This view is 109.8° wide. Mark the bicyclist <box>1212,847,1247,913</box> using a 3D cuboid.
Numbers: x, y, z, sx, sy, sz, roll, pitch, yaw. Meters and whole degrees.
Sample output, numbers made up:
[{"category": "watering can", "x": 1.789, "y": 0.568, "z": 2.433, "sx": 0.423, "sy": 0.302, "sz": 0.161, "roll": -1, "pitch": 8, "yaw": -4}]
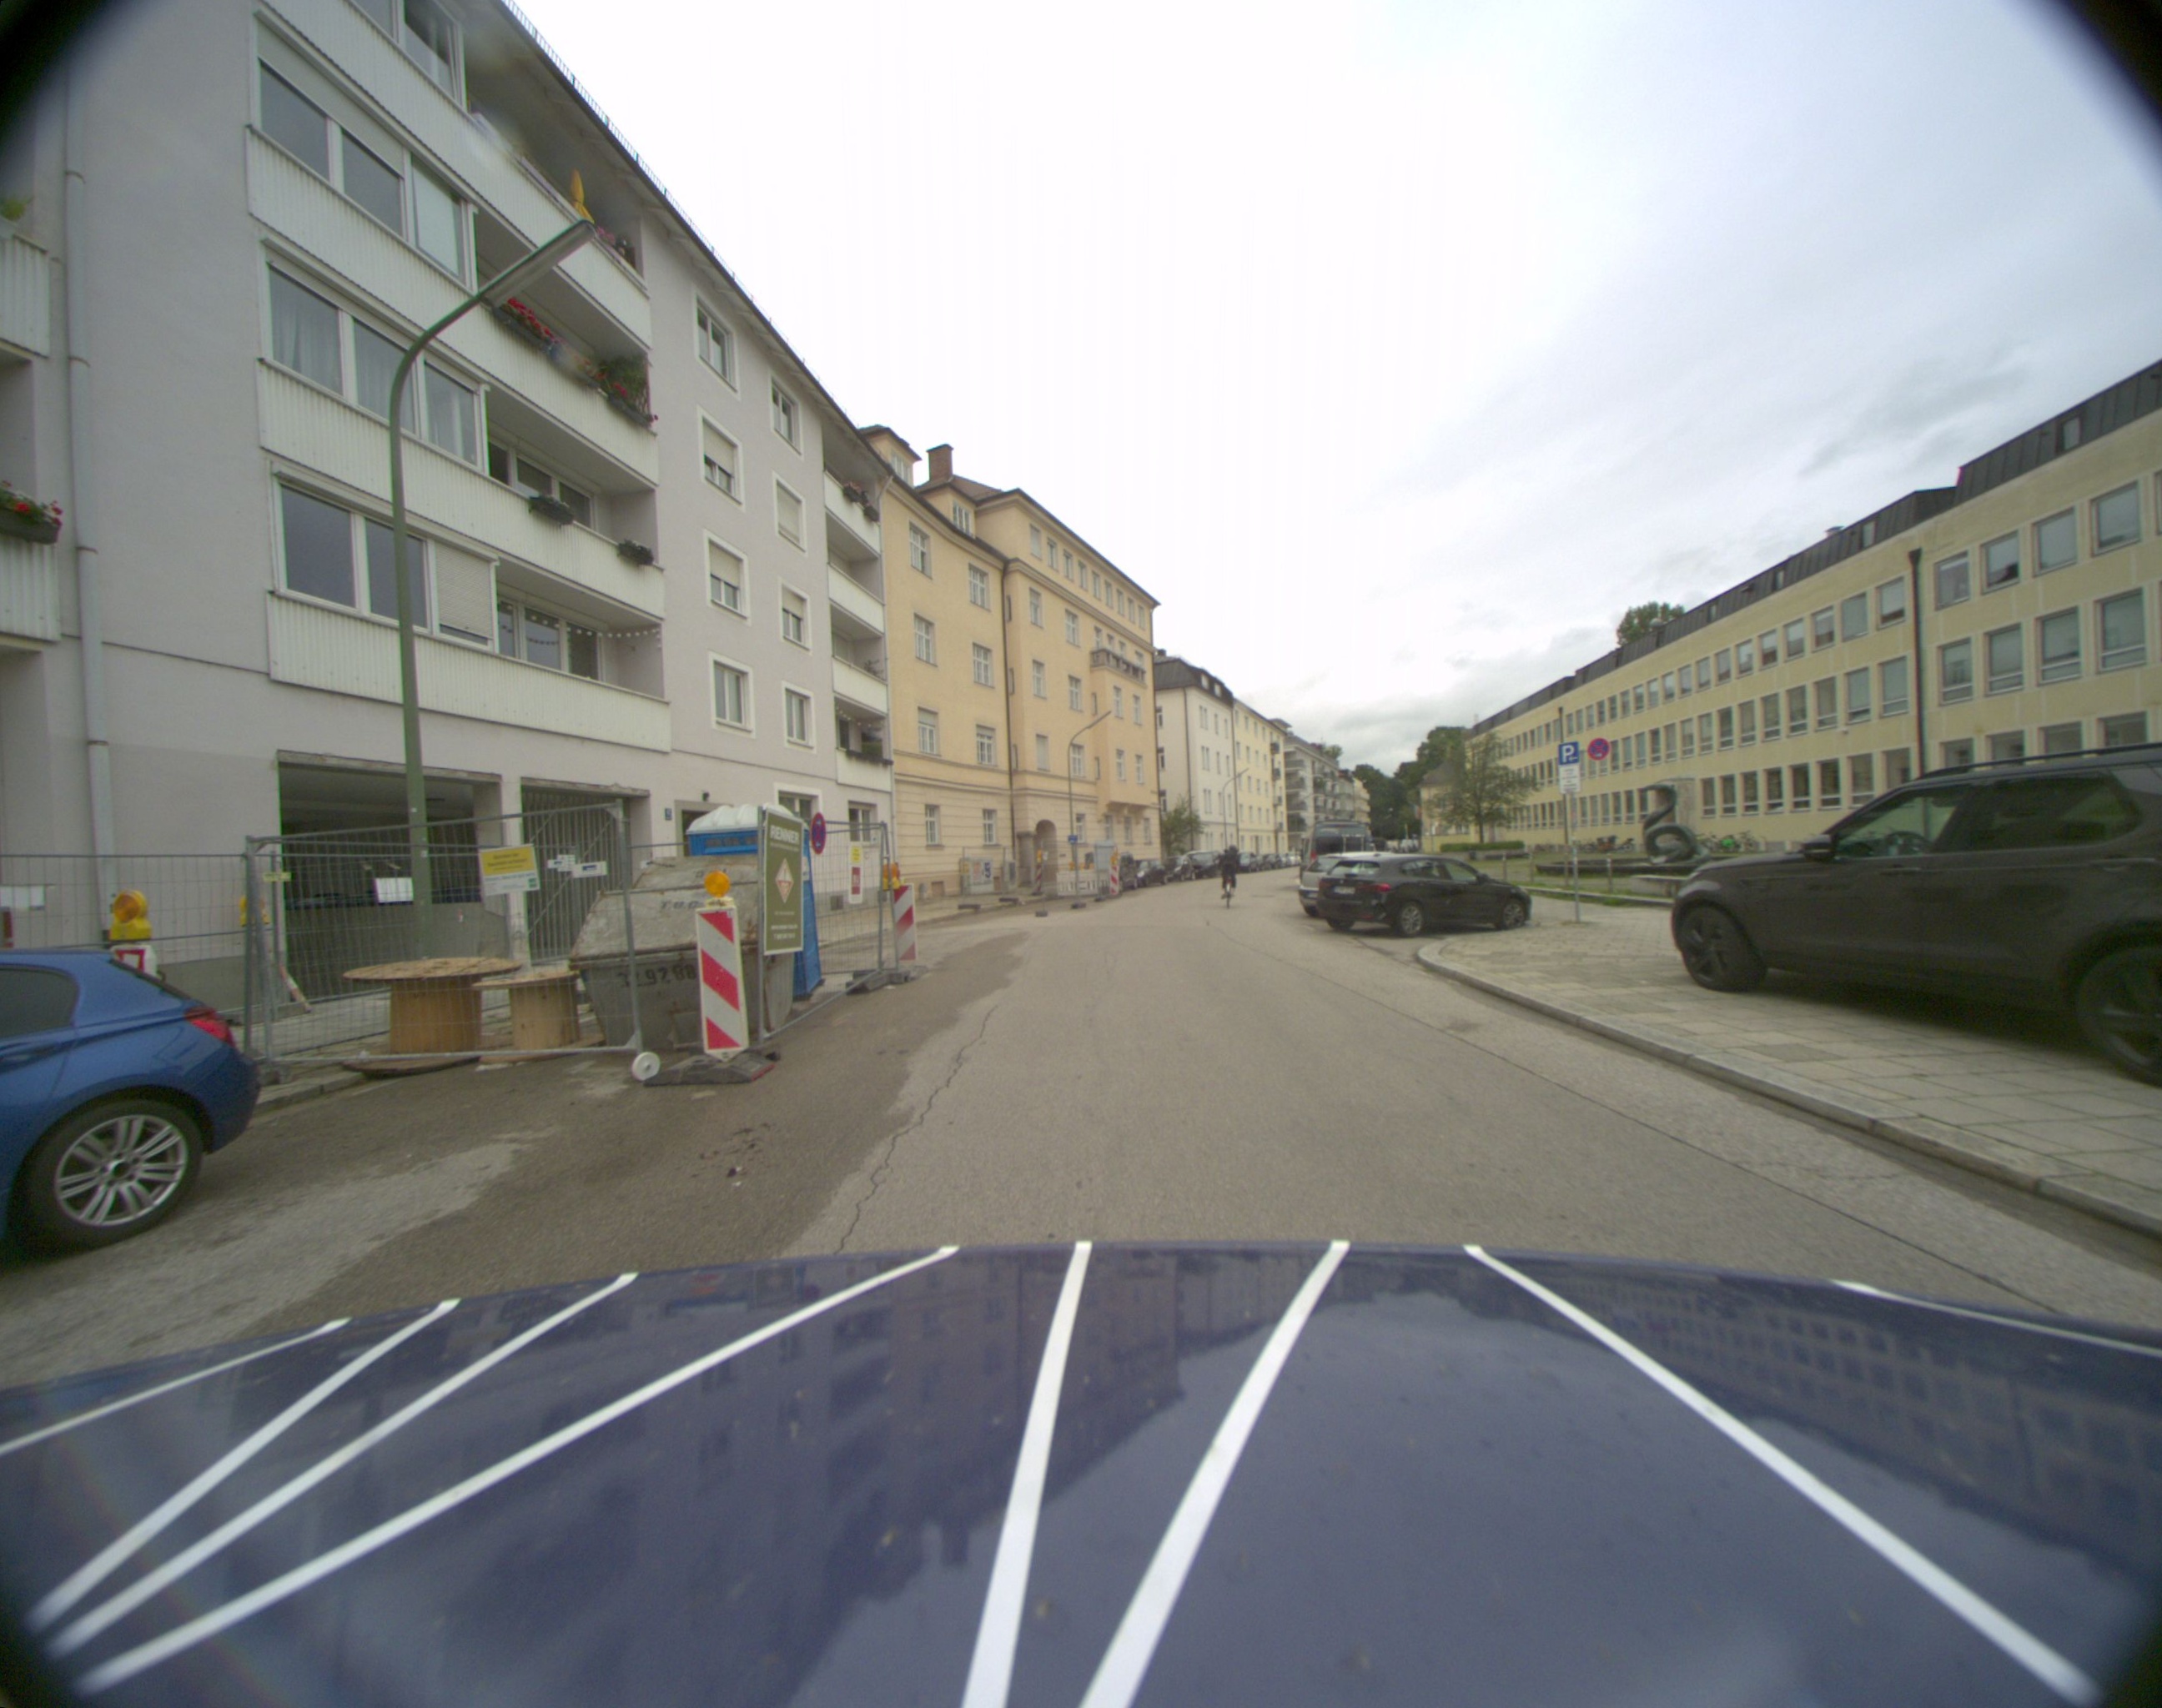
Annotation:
[{"category": "bicyclist", "x": 3.971, "y": 0.688, "z": 20.423, "sx": 0.749, "sy": 1.707, "sz": 1.032, "roll": -2, "pitch": 0, "yaw": 4}]

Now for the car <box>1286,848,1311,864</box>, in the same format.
[{"category": "car", "x": 23.403, "y": 0.216, "z": 81.615, "sx": 1.838, "sy": 1.450, "sz": 4.028, "roll": -5, "pitch": 0, "yaw": 25}]

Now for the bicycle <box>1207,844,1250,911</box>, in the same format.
[{"category": "bicycle", "x": 4.046, "y": 0.633, "z": 21.139, "sx": 0.797, "sy": 1.712, "sz": 3.116, "roll": -1, "pitch": -1, "yaw": 4}]

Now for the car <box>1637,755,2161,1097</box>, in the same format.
[{"category": "car", "x": 6.536, "y": 0.330, "z": 5.093, "sx": 1.999, "sy": 1.761, "sz": 4.814, "roll": -3, "pitch": 0, "yaw": 0}]

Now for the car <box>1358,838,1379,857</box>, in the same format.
[{"category": "car", "x": 31.050, "y": -0.721, "z": 82.058, "sx": 1.946, "sy": 1.965, "sz": 4.361, "roll": -1, "pitch": 1, "yaw": 23}]

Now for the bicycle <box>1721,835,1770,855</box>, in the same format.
[{"category": "bicycle", "x": 34.562, "y": -0.472, "z": 39.538, "sx": 1.904, "sy": 0.911, "sz": 0.438, "roll": -5, "pitch": 0, "yaw": 10}]

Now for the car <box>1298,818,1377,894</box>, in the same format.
[{"category": "car", "x": 9.692, "y": 0.054, "z": 29.171, "sx": 2.147, "sy": 2.559, "sz": 6.216, "roll": -1, "pitch": 1, "yaw": 12}]

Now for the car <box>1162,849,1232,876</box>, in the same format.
[{"category": "car", "x": 8.492, "y": 0.644, "z": 55.802, "sx": 4.918, "sy": 1.762, "sz": 1.886, "roll": -2, "pitch": 1, "yaw": 8}]

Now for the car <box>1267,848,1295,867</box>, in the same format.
[{"category": "car", "x": 19.094, "y": 0.343, "z": 72.503, "sx": 1.779, "sy": 1.581, "sz": 3.707, "roll": -5, "pitch": 0, "yaw": 25}]

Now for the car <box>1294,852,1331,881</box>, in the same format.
[{"category": "car", "x": 12.398, "y": 0.635, "z": 40.587, "sx": 1.668, "sy": 1.451, "sz": 2.872, "roll": 0, "pitch": 2, "yaw": 21}]

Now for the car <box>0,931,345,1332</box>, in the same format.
[{"category": "car", "x": -5.206, "y": 1.222, "z": 2.021, "sx": 1.835, "sy": 1.433, "sz": 4.629, "roll": -5, "pitch": 0, "yaw": 1}]

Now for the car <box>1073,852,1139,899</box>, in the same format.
[{"category": "car", "x": 1.206, "y": 0.887, "z": 33.741, "sx": 1.839, "sy": 1.788, "sz": 4.243, "roll": -5, "pitch": 0, "yaw": 16}]

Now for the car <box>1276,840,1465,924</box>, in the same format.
[{"category": "car", "x": 6.739, "y": 0.614, "z": 17.646, "sx": 3.987, "sy": 1.521, "sz": 1.672, "roll": -5, "pitch": 0, "yaw": -24}]

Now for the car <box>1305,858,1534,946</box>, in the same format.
[{"category": "car", "x": 6.326, "y": 0.797, "z": 14.156, "sx": 4.012, "sy": 1.365, "sz": 1.745, "roll": -1, "pitch": 1, "yaw": -27}]

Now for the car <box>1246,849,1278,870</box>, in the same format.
[{"category": "car", "x": 15.457, "y": 0.456, "z": 64.764, "sx": 1.779, "sy": 1.581, "sz": 3.707, "roll": -5, "pitch": 0, "yaw": 25}]

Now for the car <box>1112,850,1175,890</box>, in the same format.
[{"category": "car", "x": 3.262, "y": 0.784, "z": 38.945, "sx": 1.838, "sy": 1.720, "sz": 3.736, "roll": -5, "pitch": 0, "yaw": 26}]

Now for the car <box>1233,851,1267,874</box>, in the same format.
[{"category": "car", "x": 13.581, "y": 0.629, "z": 61.019, "sx": 1.779, "sy": 1.581, "sz": 3.707, "roll": -5, "pitch": 0, "yaw": 25}]

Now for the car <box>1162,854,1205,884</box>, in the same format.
[{"category": "car", "x": 6.070, "y": 0.877, "z": 44.841, "sx": 1.509, "sy": 1.548, "sz": 2.867, "roll": -5, "pitch": 0, "yaw": 28}]

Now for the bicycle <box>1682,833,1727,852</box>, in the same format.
[{"category": "bicycle", "x": 34.767, "y": -0.647, "z": 42.370, "sx": 1.904, "sy": 0.911, "sz": 0.438, "roll": -5, "pitch": 0, "yaw": 10}]

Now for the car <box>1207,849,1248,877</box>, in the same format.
[{"category": "car", "x": 10.762, "y": 0.644, "z": 55.530, "sx": 1.779, "sy": 1.720, "sz": 4.396, "roll": -5, "pitch": 0, "yaw": 26}]

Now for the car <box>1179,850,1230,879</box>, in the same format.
[{"category": "car", "x": 8.146, "y": 0.652, "z": 49.792, "sx": 1.929, "sy": 1.719, "sz": 4.695, "roll": -5, "pitch": -2, "yaw": 26}]

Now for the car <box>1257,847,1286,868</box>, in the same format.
[{"category": "car", "x": 17.146, "y": 0.296, "z": 68.271, "sx": 1.779, "sy": 1.581, "sz": 3.707, "roll": -5, "pitch": 0, "yaw": 25}]

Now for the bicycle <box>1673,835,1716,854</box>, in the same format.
[{"category": "bicycle", "x": 34.946, "y": -0.519, "z": 43.300, "sx": 1.904, "sy": 0.911, "sz": 0.438, "roll": -5, "pitch": 0, "yaw": 10}]

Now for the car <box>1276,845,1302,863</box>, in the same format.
[{"category": "car", "x": 21.264, "y": -0.016, "z": 77.548, "sx": 1.779, "sy": 1.581, "sz": 3.707, "roll": -5, "pitch": 0, "yaw": 25}]

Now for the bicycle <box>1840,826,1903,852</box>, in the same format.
[{"category": "bicycle", "x": 33.183, "y": -0.635, "z": 31.905, "sx": 1.904, "sy": 0.911, "sz": 0.438, "roll": -5, "pitch": 0, "yaw": 10}]
